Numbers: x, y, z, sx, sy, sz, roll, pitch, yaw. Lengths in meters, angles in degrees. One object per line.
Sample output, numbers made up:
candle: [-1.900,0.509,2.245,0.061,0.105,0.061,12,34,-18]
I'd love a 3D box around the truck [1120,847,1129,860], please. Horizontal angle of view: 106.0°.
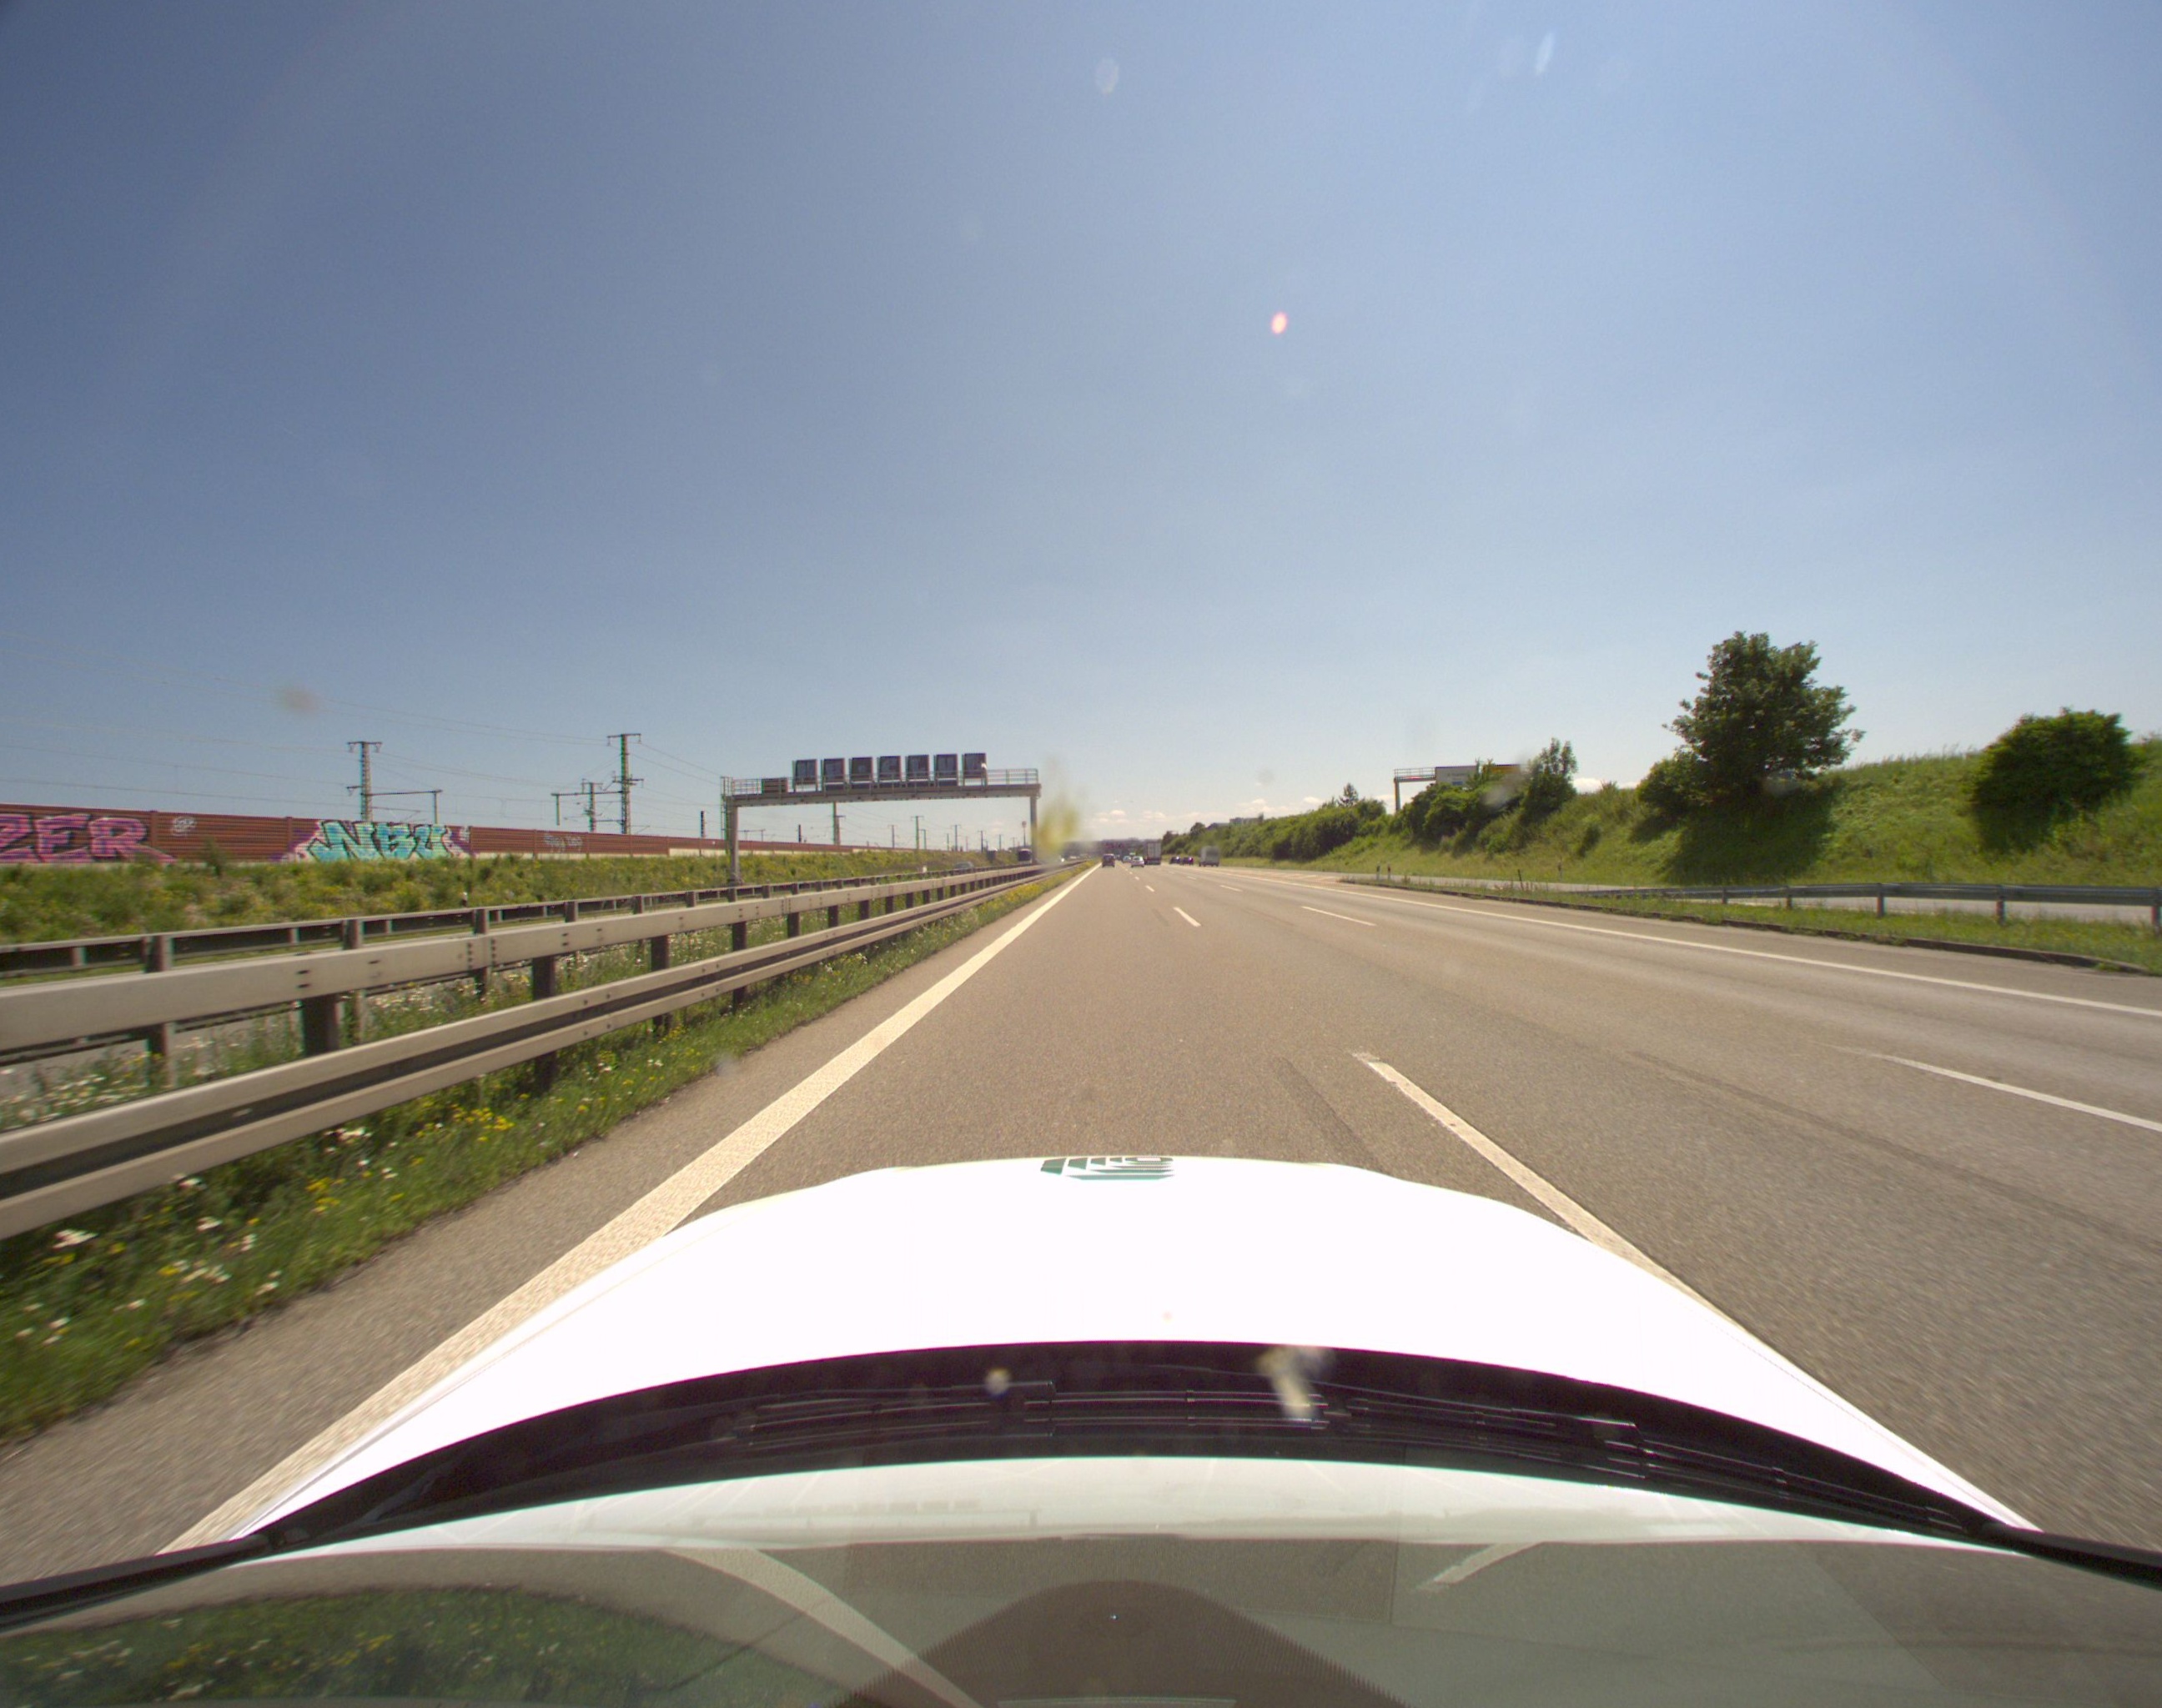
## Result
truck: [11.896,-0.120,221.911,2.346,3.416,6.060,-1,0,2]

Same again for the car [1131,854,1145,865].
car: [7.820,0.781,111.760,1.872,1.526,4.005,-1,-1,5]

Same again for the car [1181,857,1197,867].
car: [17.459,1.250,131.950,1.987,1.508,3.998,0,-2,0]

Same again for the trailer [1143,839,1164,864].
trailer: [12.756,-0.436,144.346,3.165,4.059,9.444,-2,0,2]

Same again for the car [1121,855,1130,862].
car: [9.830,1.079,178.718,1.873,1.526,4.003,-1,-1,3]

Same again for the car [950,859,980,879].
car: [-9.992,1.274,70.378,1.797,1.574,4.002,-1,0,2]

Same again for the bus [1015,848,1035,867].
bus: [-10.818,0.665,159.202,2.846,3.645,10.945,0,0,2]

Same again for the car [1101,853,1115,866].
car: [3.792,0.795,115.528,1.873,1.775,4.002,-2,-1,2]

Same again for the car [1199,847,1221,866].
car: [17.845,0.298,113.258,2.266,2.528,5.400,-1,0,1]

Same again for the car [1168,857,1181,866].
car: [17.390,1.408,151.939,1.986,1.596,4.001,0,-2,1]
